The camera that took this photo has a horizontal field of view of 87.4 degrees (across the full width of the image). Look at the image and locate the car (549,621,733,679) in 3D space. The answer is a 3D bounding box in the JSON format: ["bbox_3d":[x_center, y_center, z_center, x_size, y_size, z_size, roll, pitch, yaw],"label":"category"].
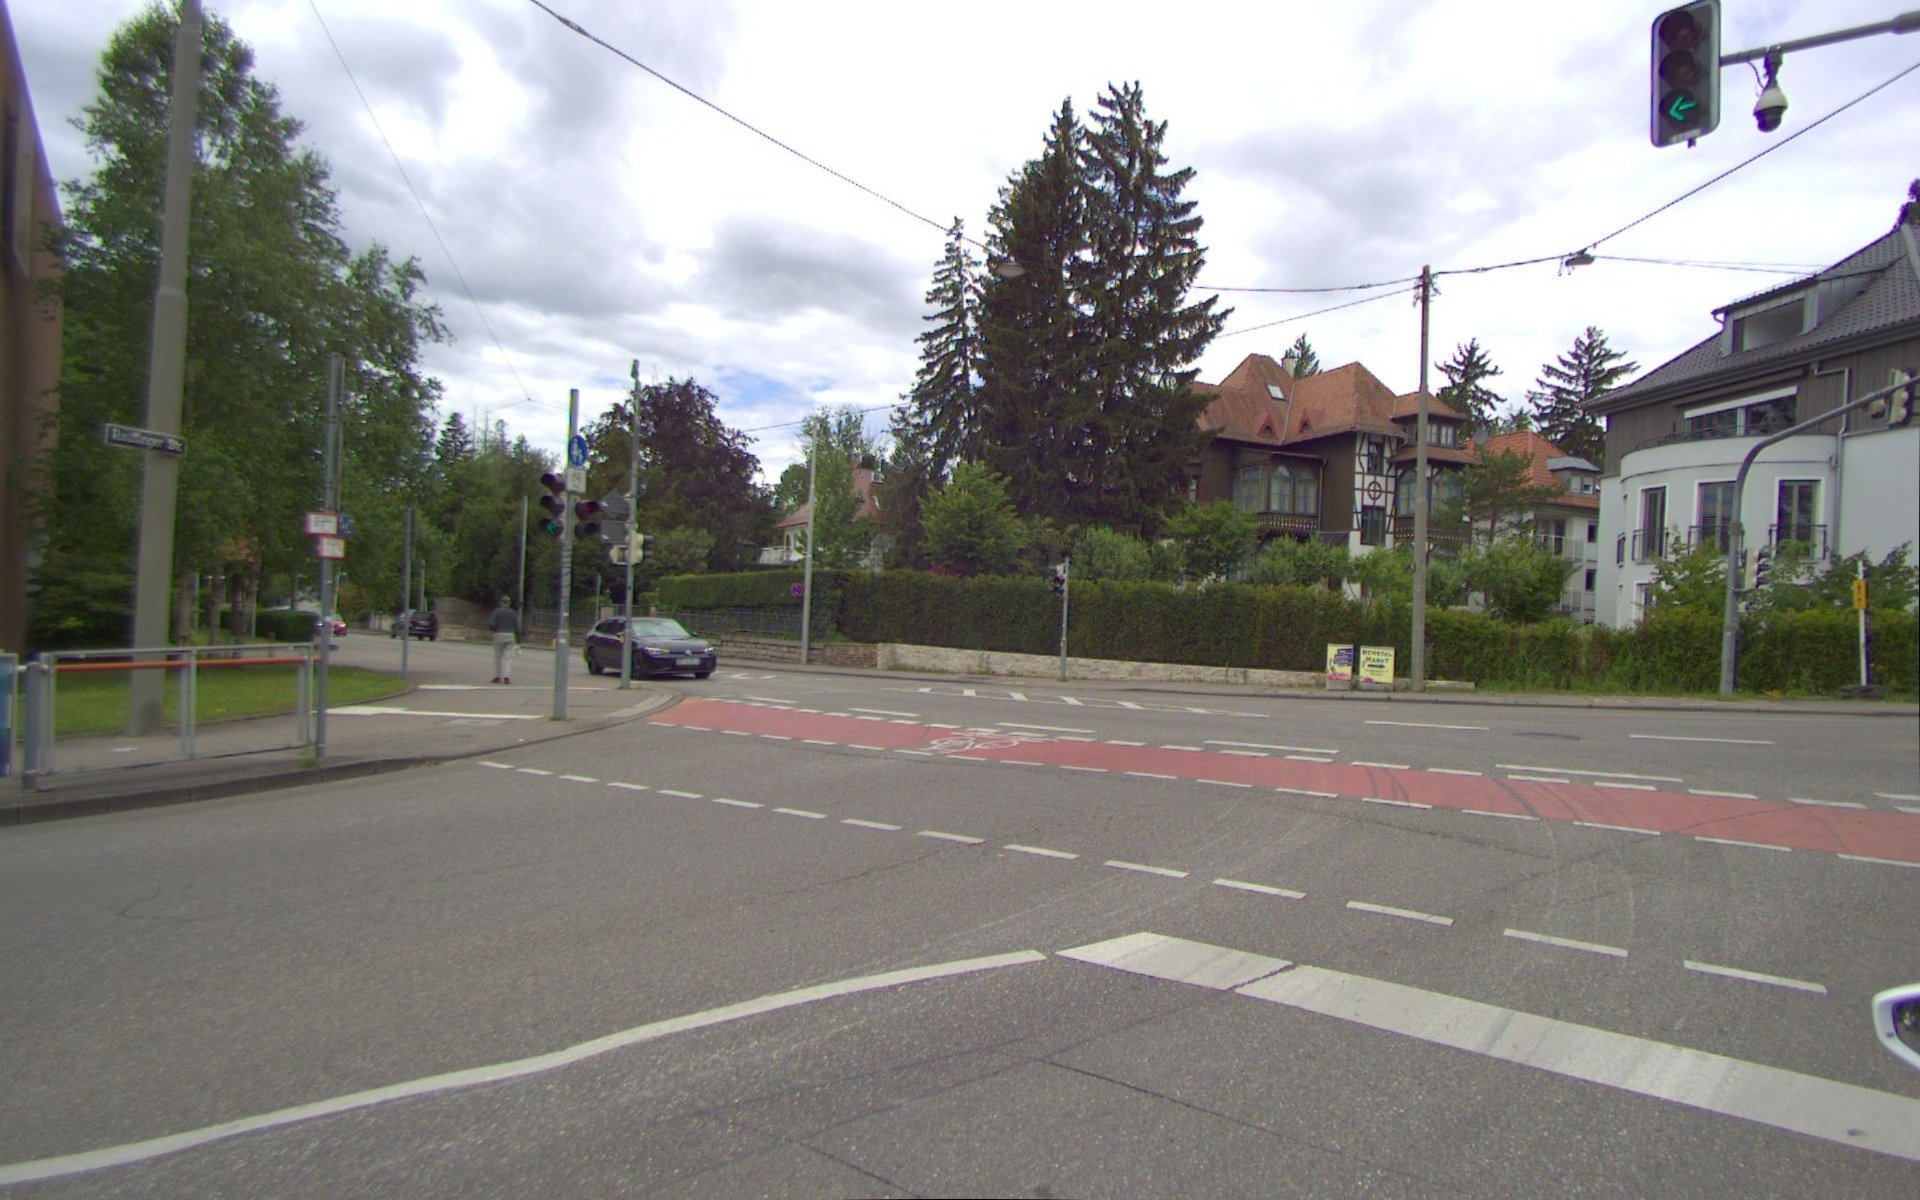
[{"bbox_3d":[-7.595,1.163,23.909,3.927,1.260,1.997,0,-3,29],"label":"car"}]

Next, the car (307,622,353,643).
[{"bbox_3d":[-42.645,2.185,67.983,1.986,1.216,3.950,2,0,-42],"label":"car"}]
